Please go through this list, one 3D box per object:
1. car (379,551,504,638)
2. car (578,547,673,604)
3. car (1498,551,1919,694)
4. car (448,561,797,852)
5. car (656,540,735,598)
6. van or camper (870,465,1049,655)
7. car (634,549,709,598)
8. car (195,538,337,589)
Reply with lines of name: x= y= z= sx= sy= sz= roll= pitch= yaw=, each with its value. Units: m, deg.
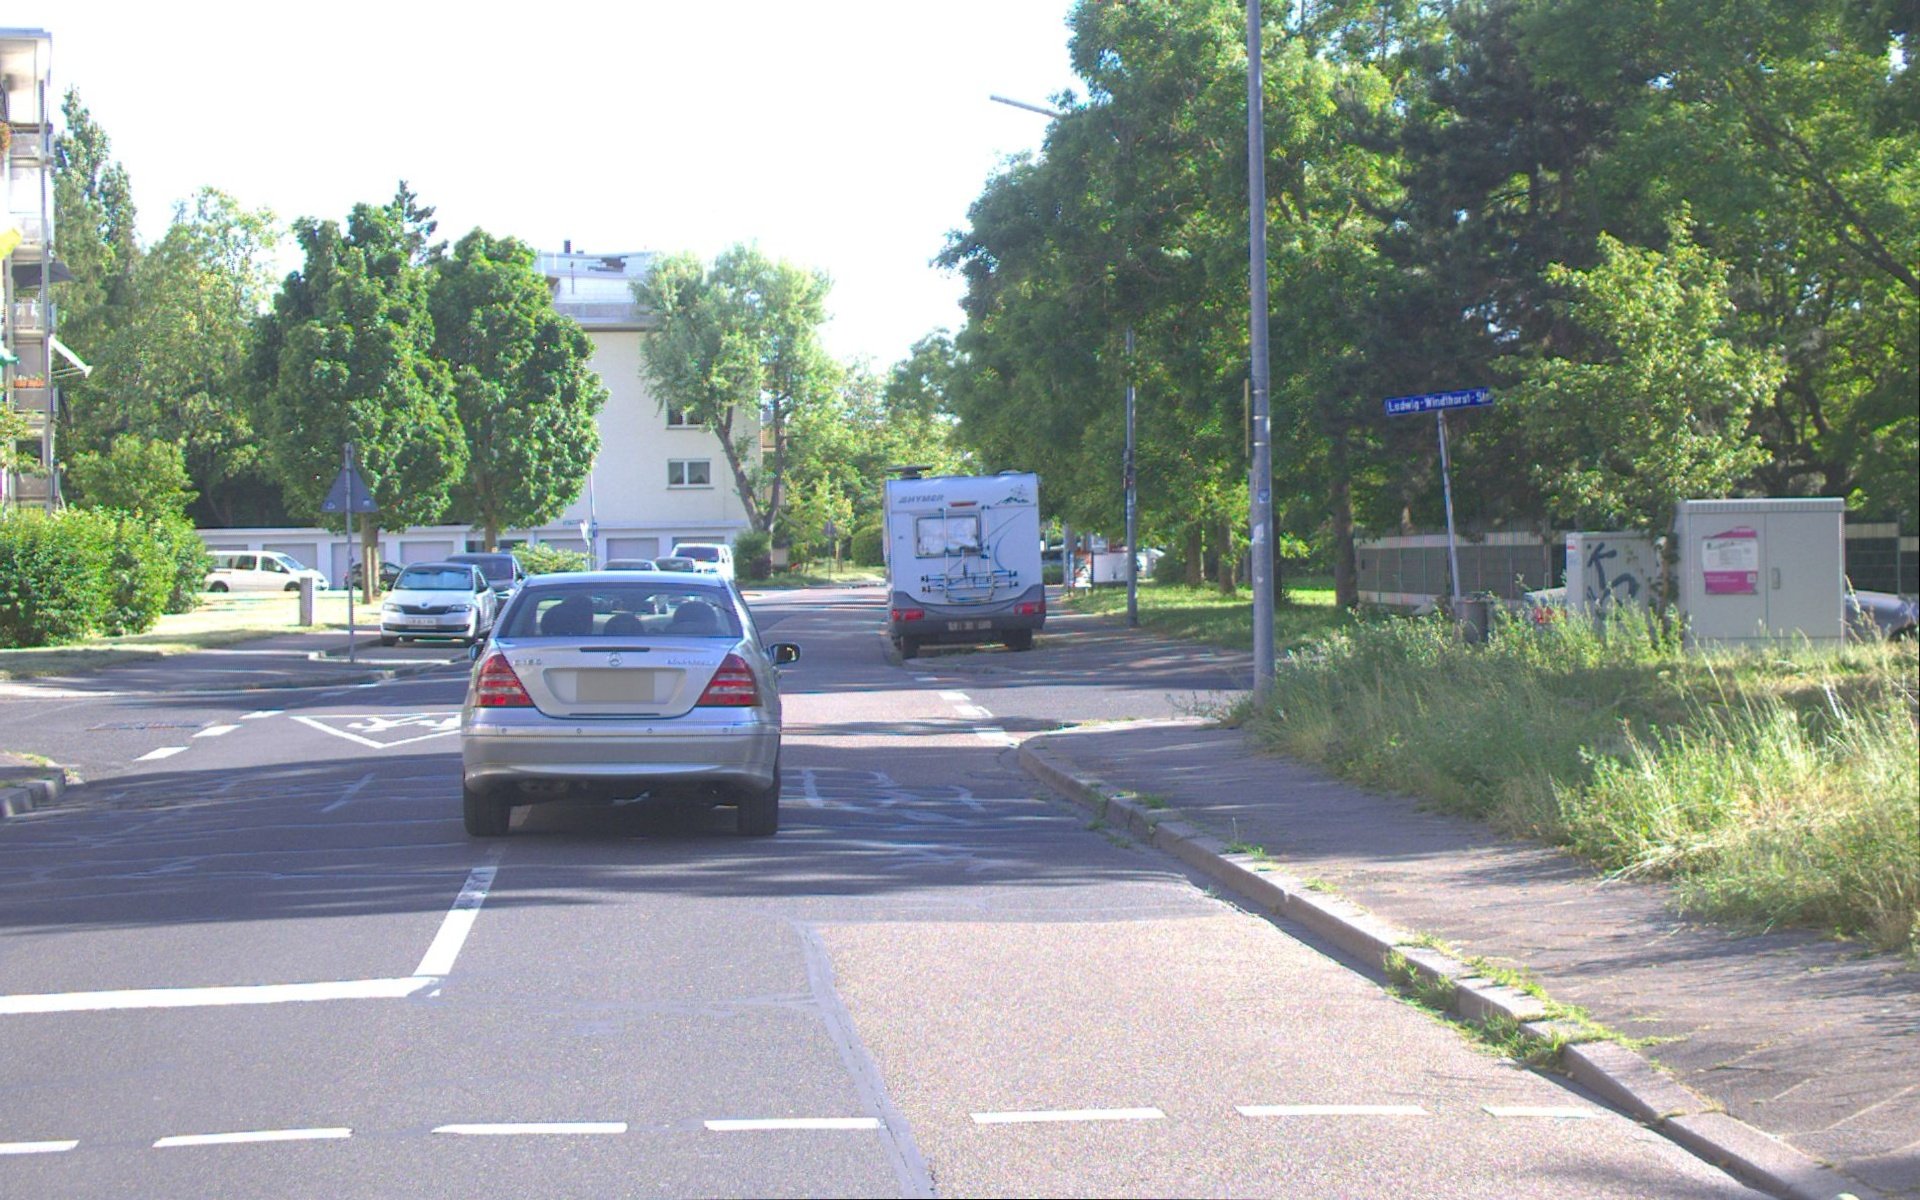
car: x=-9.187 y=-0.124 z=61.183 sx=1.646 sy=1.461 sz=4.331 roll=0 pitch=1 yaw=-1
car: x=-9.357 y=-0.707 z=96.507 sx=2.035 sy=1.487 sz=5.256 roll=2 pitch=1 yaw=1
car: x=7.730 y=0.211 z=34.434 sx=4.425 sy=1.333 sz=1.746 roll=0 pitch=2 yaw=1
car: x=-1.879 y=0.518 z=19.155 sx=1.733 sy=1.429 sz=3.439 roll=-1 pitch=1 yaw=-6
car: x=-8.883 y=-1.045 z=115.819 sx=2.014 sy=1.879 sz=5.190 roll=1 pitch=1 yaw=2
van or camper: x=-0.092 y=-0.627 z=52.743 sx=2.351 sy=2.587 sz=6.426 roll=-4 pitch=1 yaw=-2
car: x=-9.155 y=-0.851 z=109.330 sx=1.833 sy=1.513 sz=4.221 roll=1 pitch=1 yaw=2
car: x=-27.981 y=-1.482 z=138.698 sx=5.107 sy=1.944 sz=2.236 roll=-1 pitch=1 yaw=9
